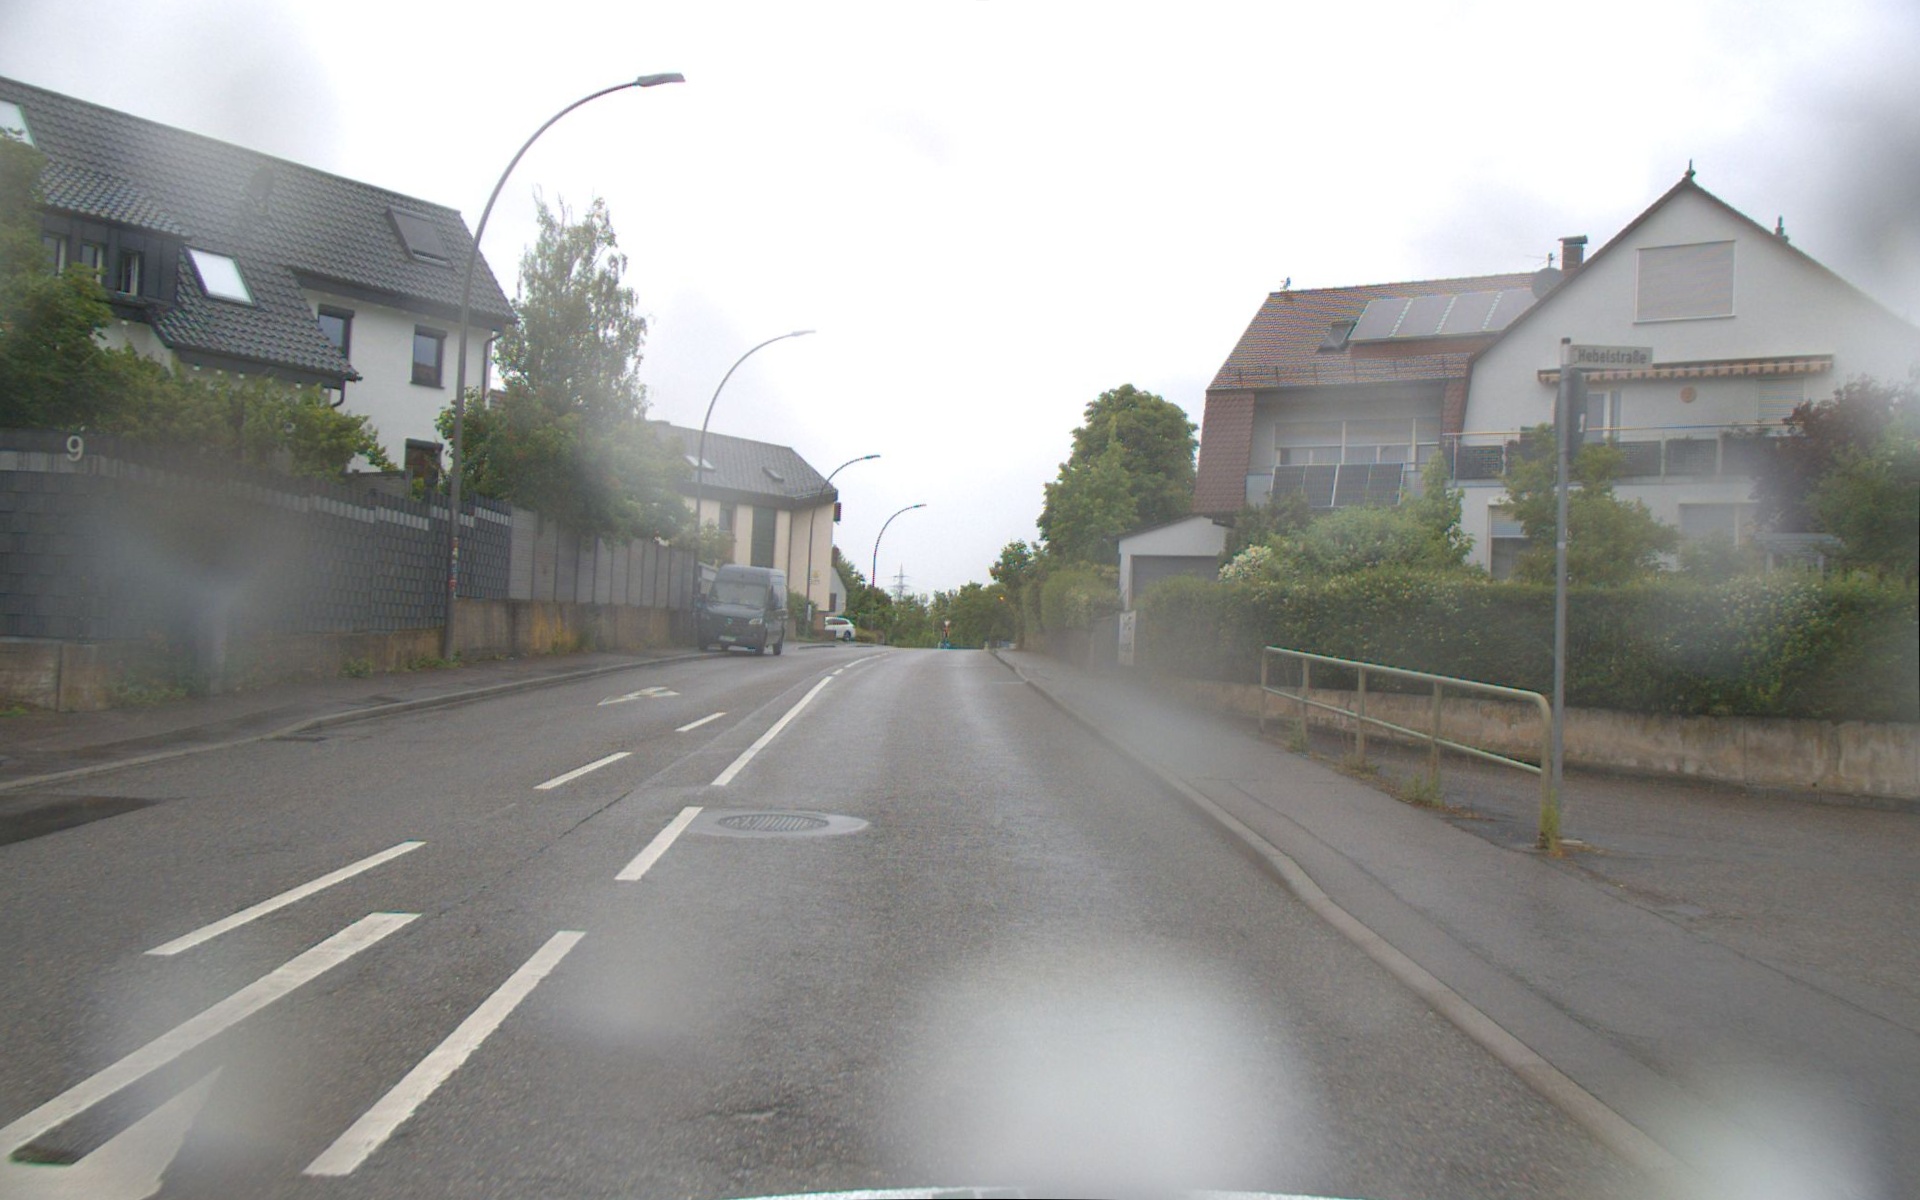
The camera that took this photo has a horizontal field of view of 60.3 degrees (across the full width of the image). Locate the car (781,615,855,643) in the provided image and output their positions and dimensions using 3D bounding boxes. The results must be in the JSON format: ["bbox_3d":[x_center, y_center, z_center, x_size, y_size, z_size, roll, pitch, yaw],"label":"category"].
[{"bbox_3d":[-8.816,1.797,103.230,1.869,1.503,4.863,3,-1,35],"label":"car"}]

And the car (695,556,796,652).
[{"bbox_3d":[-6.548,0.164,51.179,2.051,2.695,5.919,3,-1,2],"label":"car"}]
